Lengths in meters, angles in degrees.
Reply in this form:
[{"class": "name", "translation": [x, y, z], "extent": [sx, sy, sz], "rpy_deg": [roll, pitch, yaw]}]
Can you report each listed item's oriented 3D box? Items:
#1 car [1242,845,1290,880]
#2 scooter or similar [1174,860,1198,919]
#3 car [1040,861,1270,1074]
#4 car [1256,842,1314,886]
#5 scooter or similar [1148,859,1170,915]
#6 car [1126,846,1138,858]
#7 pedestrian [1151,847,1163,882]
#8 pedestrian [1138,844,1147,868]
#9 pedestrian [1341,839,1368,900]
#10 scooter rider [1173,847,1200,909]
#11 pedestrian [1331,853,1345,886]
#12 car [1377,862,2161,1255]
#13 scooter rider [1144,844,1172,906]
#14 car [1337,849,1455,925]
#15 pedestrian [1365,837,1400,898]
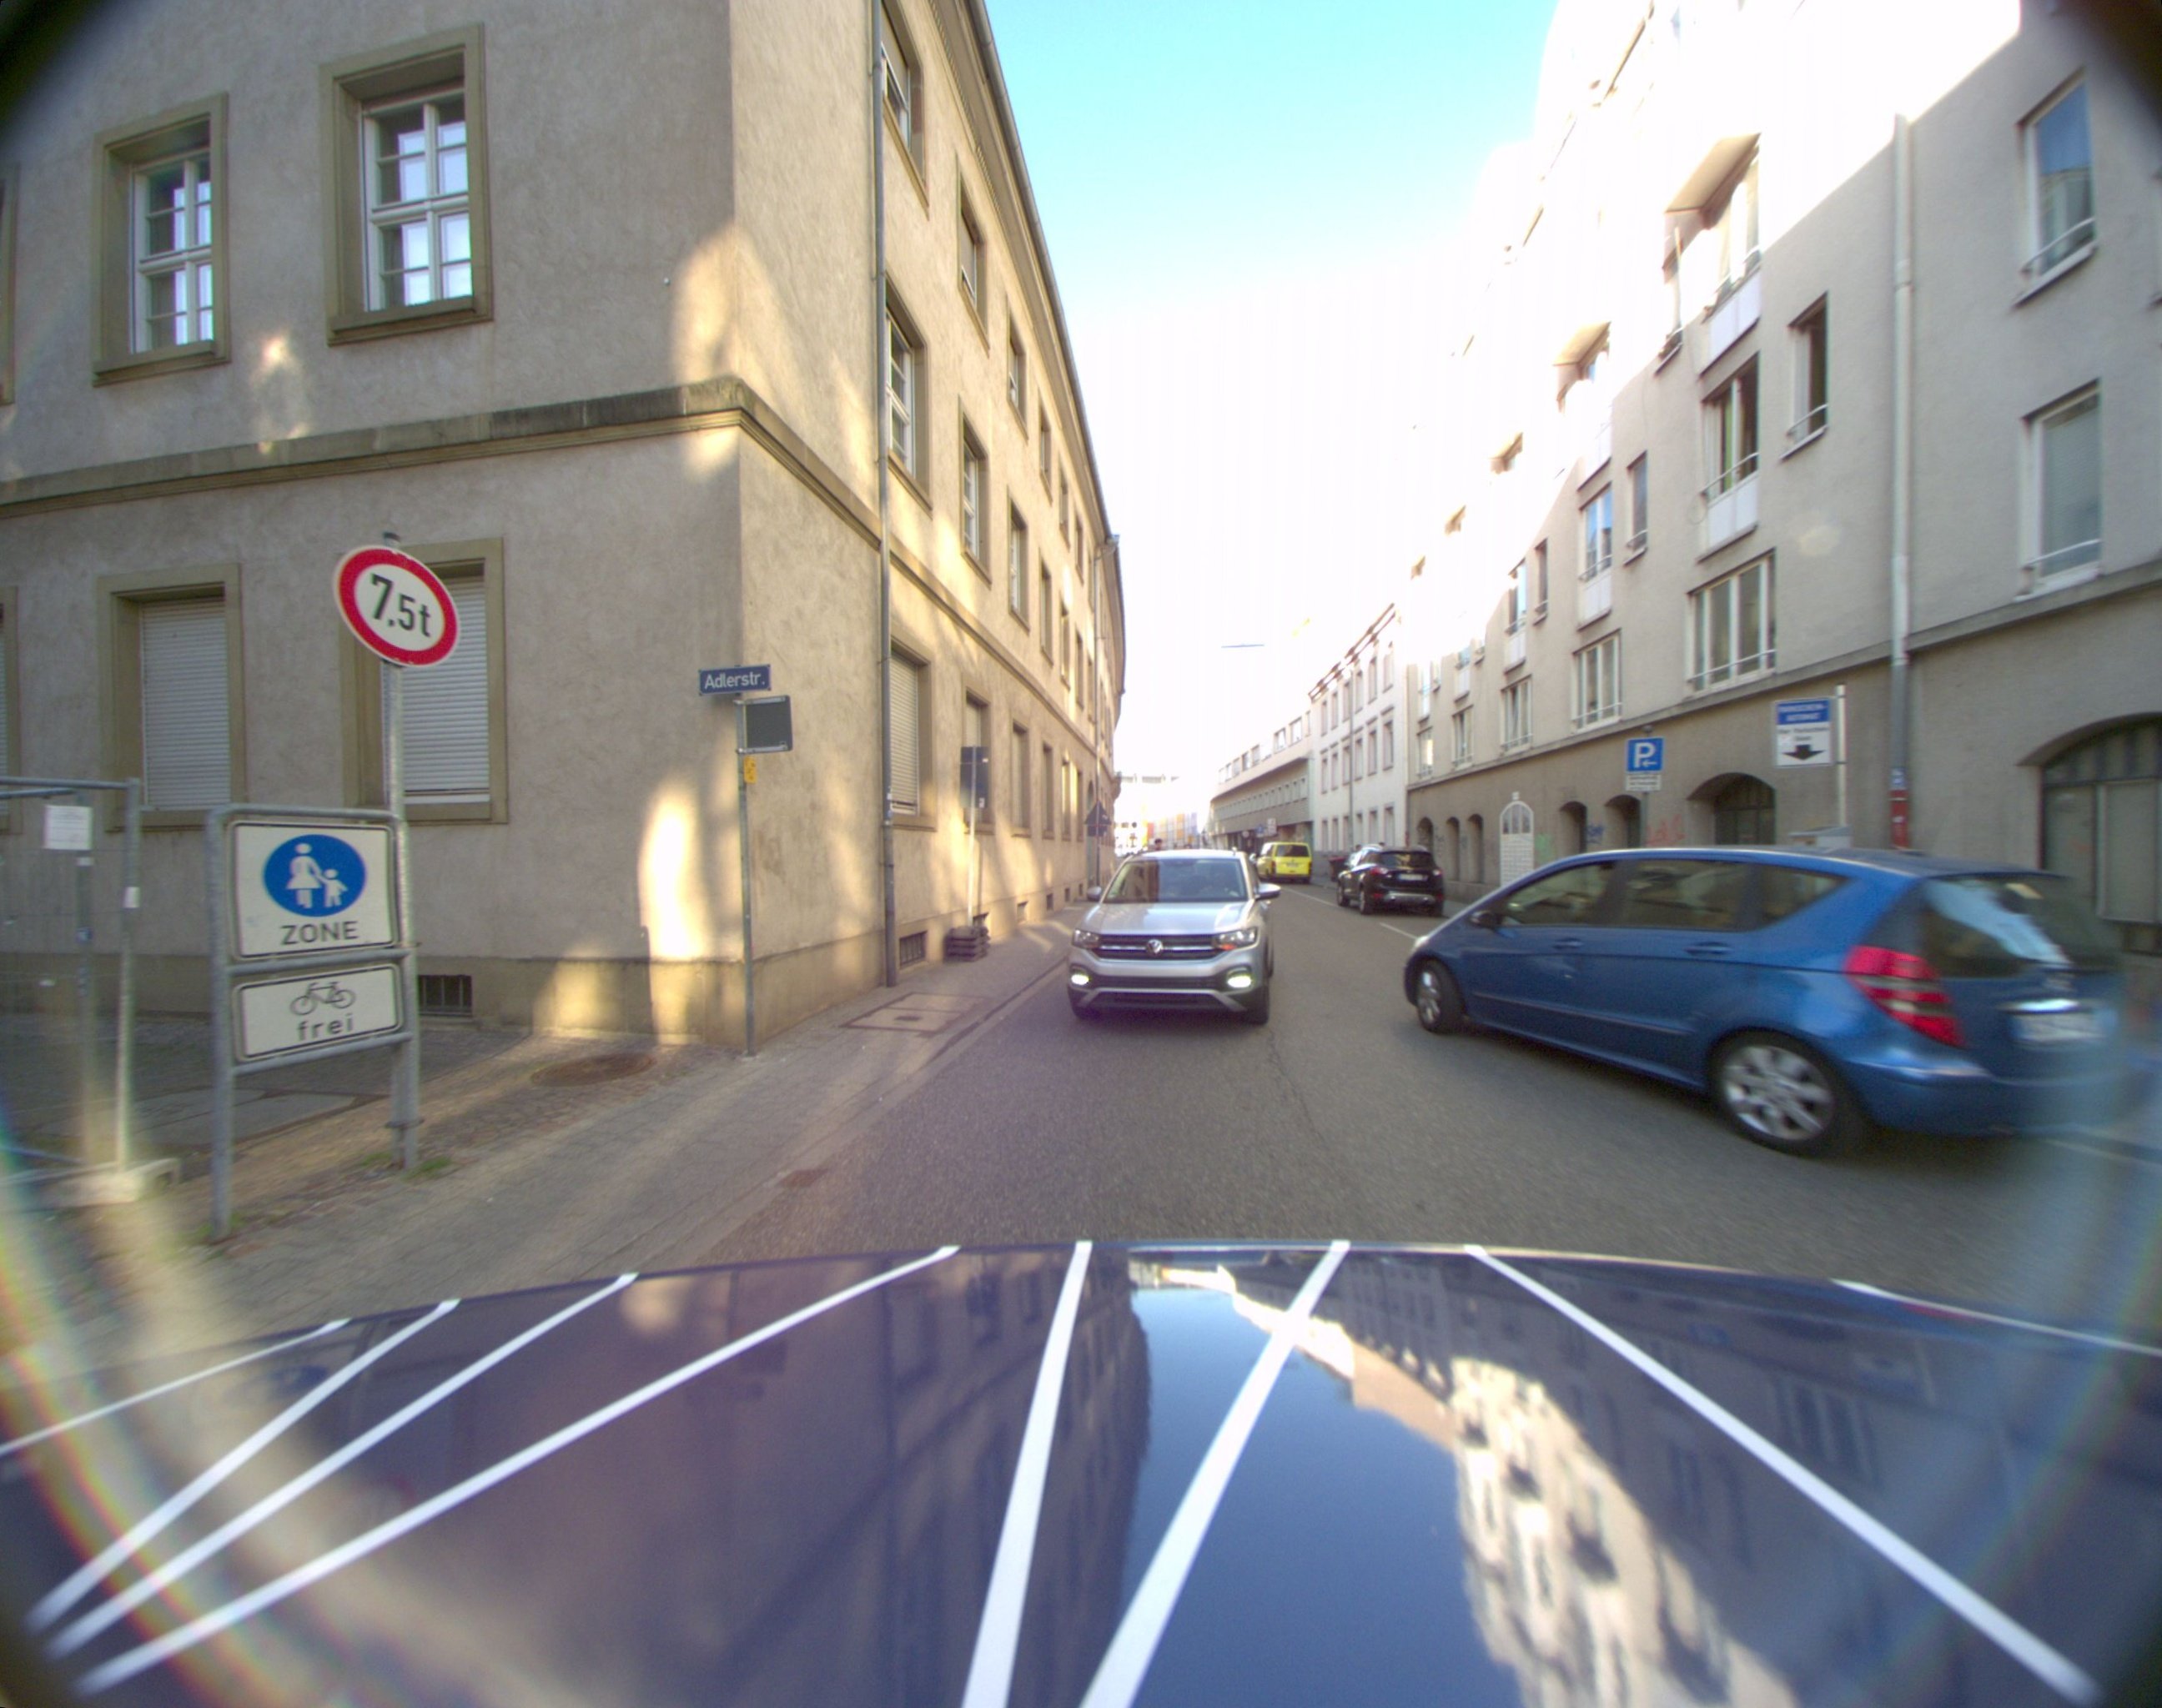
[{"class": "car", "translation": [10.098, 0.414, 41.675], "extent": [1.887, 1.758, 4.001], "rpy_deg": [2, 1, 4]}, {"class": "scooter or similar", "translation": [2.624, 0.865, 19.001], "extent": [0.549, 1.388, 1.556], "rpy_deg": [0, 1, 8]}, {"class": "car", "translation": [1.035, 0.890, 7.883], "extent": [1.761, 1.537, 4.004], "rpy_deg": [-1, 0, 14]}, {"class": "car", "translation": [9.468, 0.414, 35.538], "extent": [1.887, 1.863, 4.001], "rpy_deg": [-2, 1, 4]}, {"class": "scooter or similar", "translation": [2.054, 0.851, 19.974], "extent": [0.523, 1.388, 1.556], "rpy_deg": [0, 1, 8]}, {"class": "car", "translation": [8.875, -0.346, 131.515], "extent": [1.888, 1.863, 4.000], "rpy_deg": [2, 1, 2]}, {"class": "pedestrian", "translation": [4.459, 0.609, 44.562], "extent": [0.715, 2.002, 0.699], "rpy_deg": [0, 1, 7]}, {"class": "pedestrian", "translation": [5.120, 0.182, 63.622], "extent": [0.715, 2.002, 0.699], "rpy_deg": [0, 1, 7]}, {"class": "pedestrian", "translation": [9.149, 0.514, 25.445], "extent": [0.715, 2.002, 0.699], "rpy_deg": [0, 1, 7]}, {"class": "scooter rider", "translation": [2.643, 0.597, 19.026], "extent": [0.591, 1.499, 0.600], "rpy_deg": [-3, 1, 8]}, {"class": "pedestrian", "translation": [11.320, 0.695, 33.445], "extent": [0.556, 1.439, 0.583], "rpy_deg": [0, 1, 18]}, {"class": "car", "translation": [3.993, 0.863, 5.136], "extent": [1.858, 1.583, 3.802], "rpy_deg": [0, -1, -14]}, {"class": "scooter rider", "translation": [2.062, 0.550, 20.195], "extent": [0.647, 1.584, 0.600], "rpy_deg": [-3, 1, 8]}, {"class": "car", "translation": [7.816, 0.727, 19.274], "extent": [1.886, 1.694, 4.003], "rpy_deg": [1, 1, 9]}, {"class": "pedestrian", "translation": [10.102, 0.451, 25.463], "extent": [0.936, 2.002, 0.699], "rpy_deg": [0, 1, 7]}]
